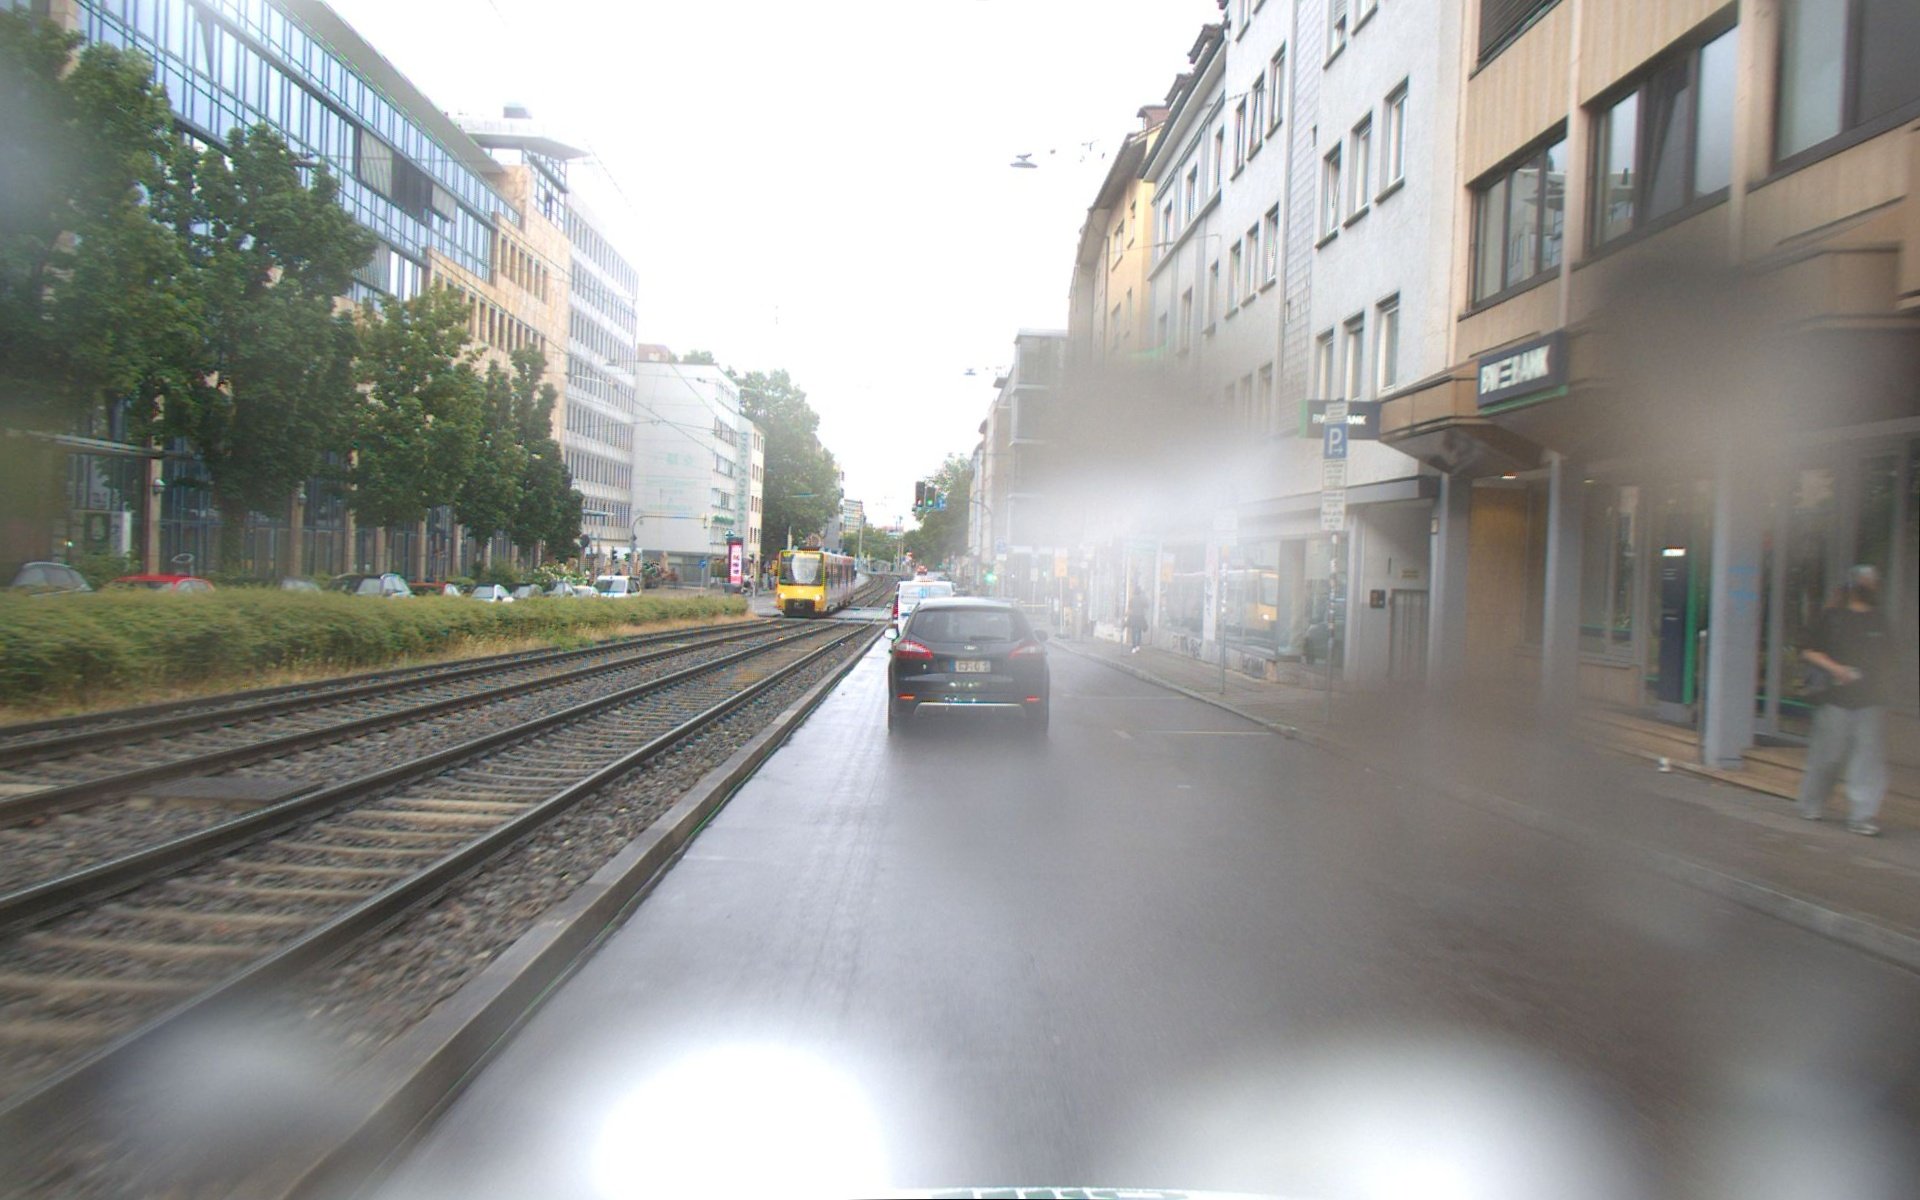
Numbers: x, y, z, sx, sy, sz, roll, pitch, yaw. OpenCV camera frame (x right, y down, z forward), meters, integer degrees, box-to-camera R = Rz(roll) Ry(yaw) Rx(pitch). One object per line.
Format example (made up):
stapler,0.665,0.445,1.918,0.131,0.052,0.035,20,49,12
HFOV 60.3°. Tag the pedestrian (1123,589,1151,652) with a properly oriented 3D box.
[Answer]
pedestrian,4.467,0.506,41.812,0.599,1.564,0.648,1,0,-2

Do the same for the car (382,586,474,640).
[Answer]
car,-15.273,0.359,47.651,1.537,1.461,4.174,1,0,-4

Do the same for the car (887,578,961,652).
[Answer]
car,-0.944,0.429,45.914,1.867,1.897,4.573,2,-1,0

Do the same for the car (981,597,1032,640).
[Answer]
car,1.864,0.761,67.794,1.868,1.662,4.573,2,-1,0

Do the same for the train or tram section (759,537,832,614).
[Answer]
train or tram section,-8.781,-1.230,89.632,3.444,3.843,11.322,1,0,-4

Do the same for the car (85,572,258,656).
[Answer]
car,-14.939,0.257,31.558,1.537,1.461,4.174,1,0,-4

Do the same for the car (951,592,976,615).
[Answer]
car,0.287,0.299,129.562,1.868,1.662,4.573,2,-1,0

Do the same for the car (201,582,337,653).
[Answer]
car,-15.336,0.369,36.914,1.537,1.461,4.174,1,0,-4

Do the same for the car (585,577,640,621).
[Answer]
car,-16.010,-0.031,76.375,1.869,1.897,4.569,2,-1,-4

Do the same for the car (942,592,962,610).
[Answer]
car,-0.788,0.089,161.235,1.868,1.662,4.573,2,-1,0

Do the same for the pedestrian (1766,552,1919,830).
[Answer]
pedestrian,5.727,0.557,10.525,0.681,1.681,0.965,1,0,-2

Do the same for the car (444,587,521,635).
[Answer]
car,-15.325,0.336,53.241,1.537,1.461,4.174,1,0,-4

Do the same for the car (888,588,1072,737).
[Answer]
car,0.185,0.672,18.914,1.868,1.488,3.444,2,-1,-1

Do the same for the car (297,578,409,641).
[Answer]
car,-15.177,0.228,41.546,1.537,1.461,4.174,1,0,-4

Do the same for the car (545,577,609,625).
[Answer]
car,-16.068,0.078,69.556,1.869,1.897,4.569,2,-1,-4
